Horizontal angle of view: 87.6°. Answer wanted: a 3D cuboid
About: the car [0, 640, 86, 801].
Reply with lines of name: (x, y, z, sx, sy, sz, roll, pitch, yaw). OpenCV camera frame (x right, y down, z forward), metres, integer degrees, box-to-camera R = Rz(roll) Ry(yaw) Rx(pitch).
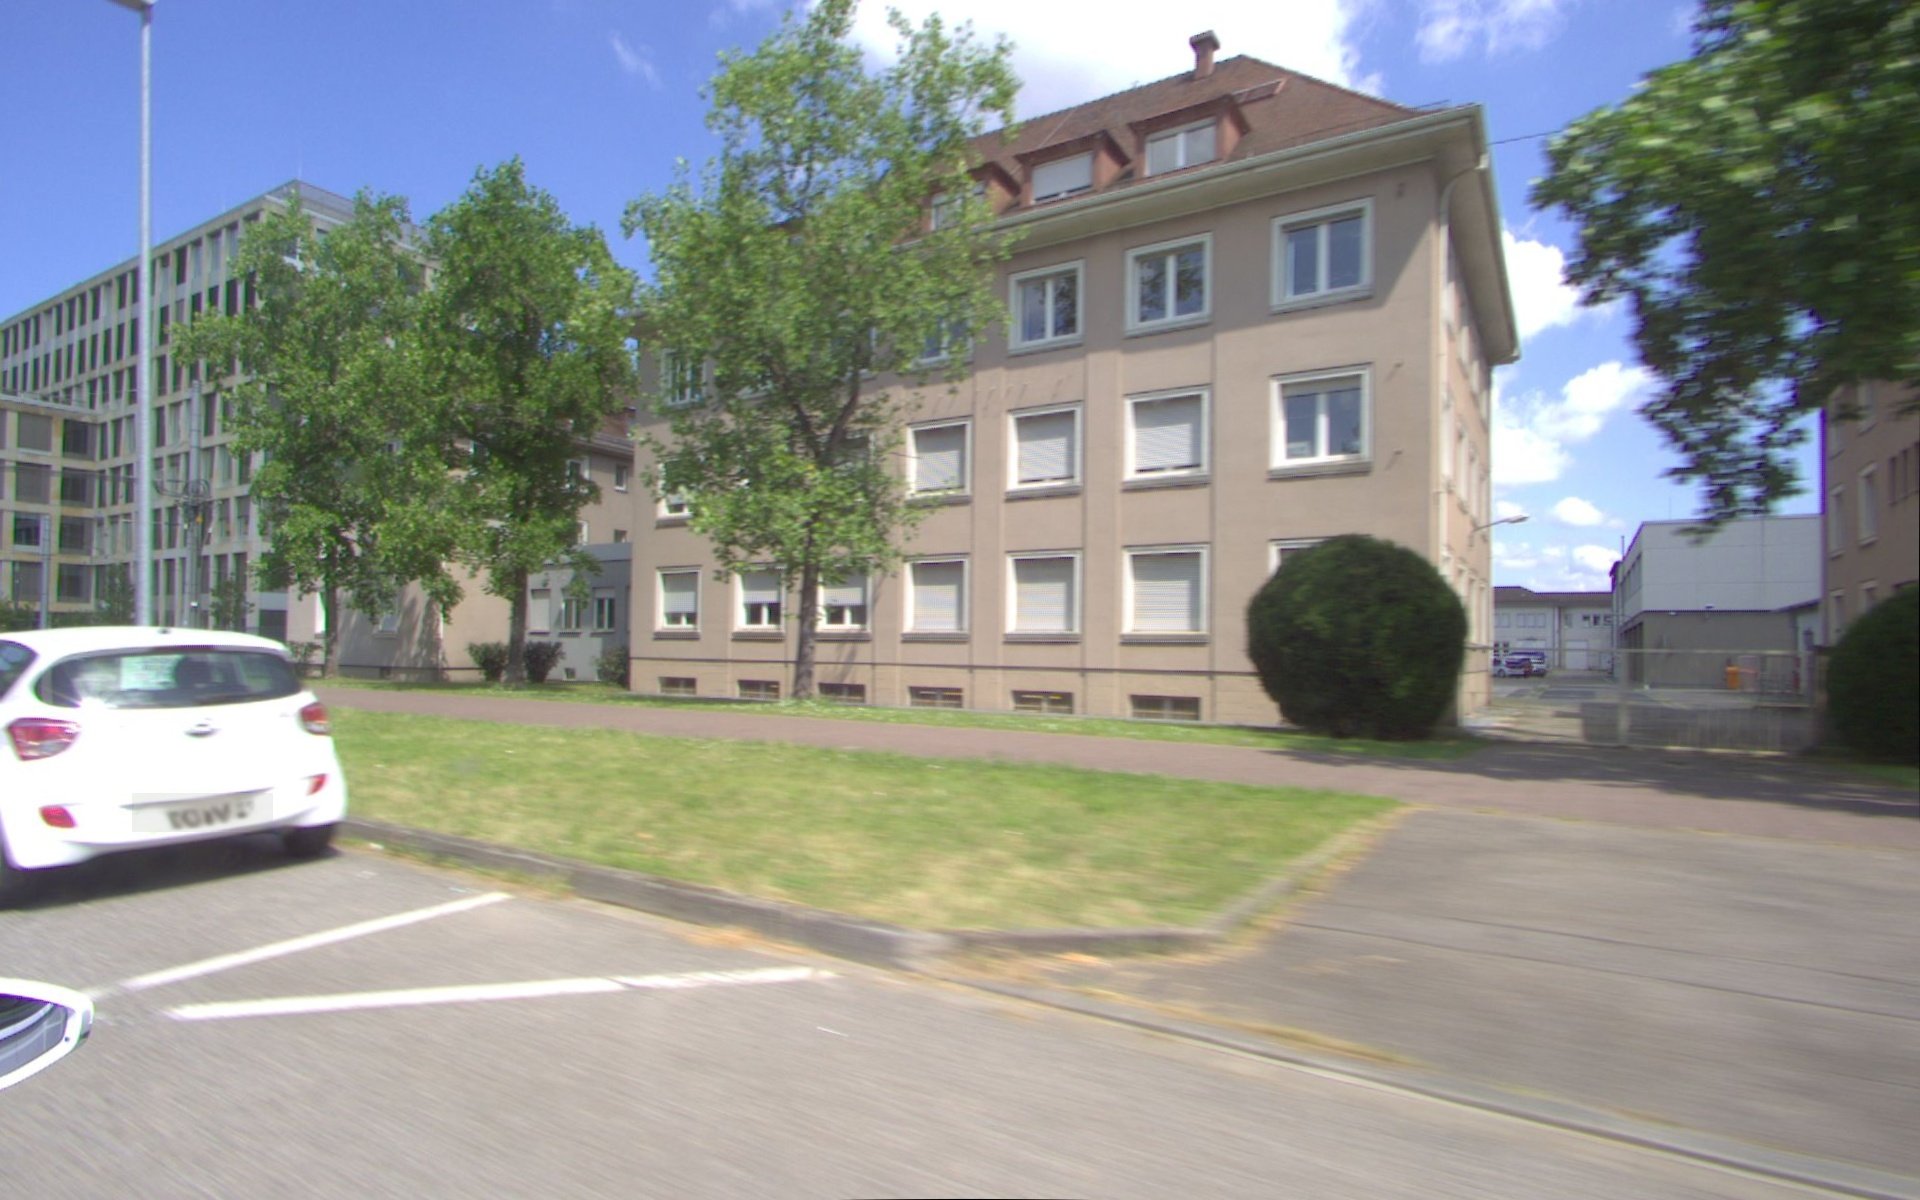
car: (-10.096, 1.042, 9.292, 4.379, 1.328, 1.821, -1, -2, 32)

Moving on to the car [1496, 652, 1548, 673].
car: (51.801, 5.741, 92.406, 1.964, 1.794, 3.996, 0, -1, -14)

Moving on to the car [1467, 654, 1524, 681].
car: (44.095, 5.495, 82.530, 1.964, 2.039, 3.996, 0, -1, -14)

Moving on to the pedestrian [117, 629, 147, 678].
pedestrian: (-28.058, 1.798, 33.938, 0.615, 1.629, 0.621, -1, -1, 30)

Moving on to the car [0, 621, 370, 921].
car: (-5.805, 0.899, 6.764, 3.737, 1.498, 1.704, -1, -2, 34)

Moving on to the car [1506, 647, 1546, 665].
car: (69.521, 6.878, 123.008, 1.966, 2.039, 3.991, 0, -1, -19)
